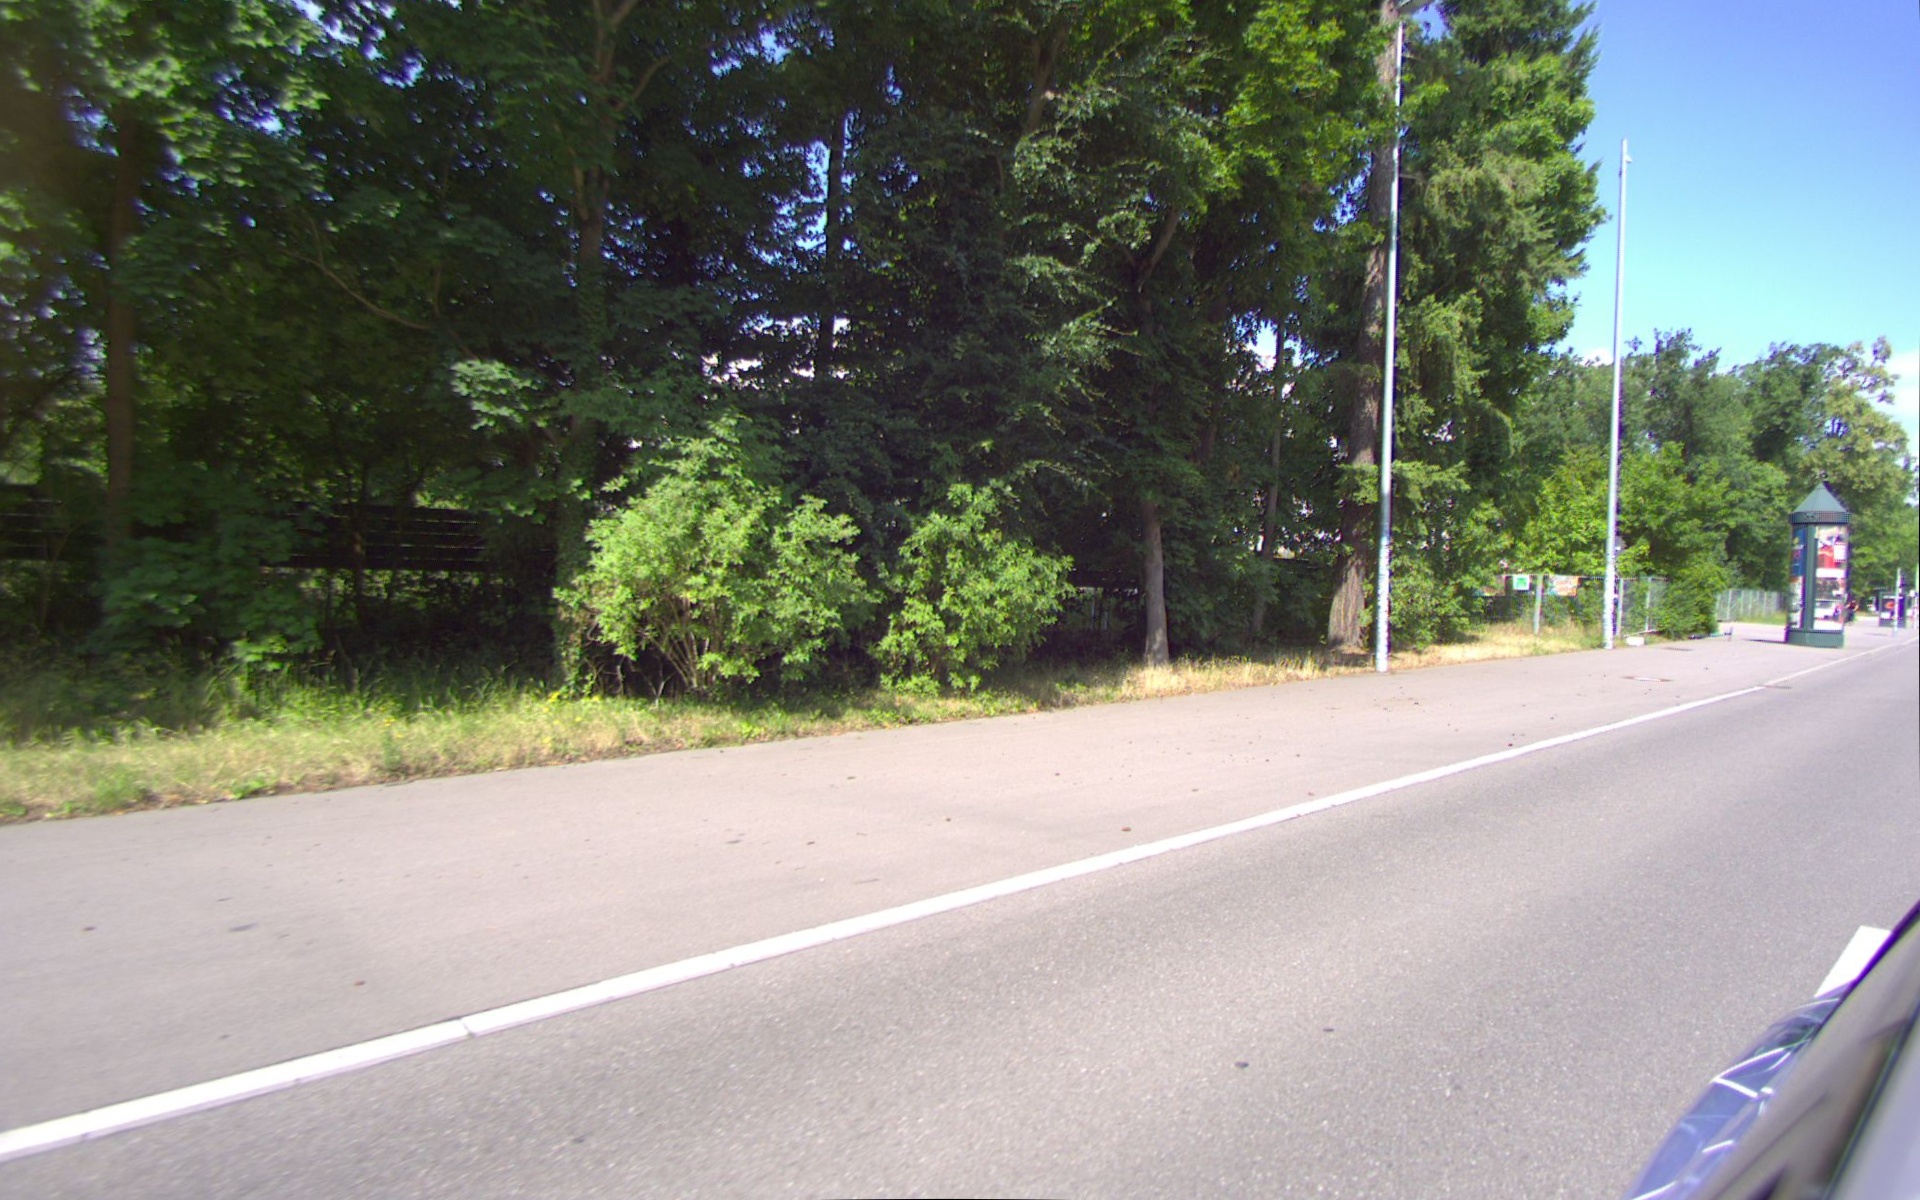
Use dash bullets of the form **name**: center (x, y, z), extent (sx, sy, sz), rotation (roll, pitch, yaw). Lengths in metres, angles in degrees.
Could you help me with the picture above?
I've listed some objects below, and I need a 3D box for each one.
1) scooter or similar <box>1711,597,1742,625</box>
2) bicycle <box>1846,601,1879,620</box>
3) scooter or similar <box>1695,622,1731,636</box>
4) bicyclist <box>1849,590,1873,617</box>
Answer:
- **scooter or similar**: center (35.017, 0.483, 46.217), extent (1.284, 1.215, 0.408), rotation (2, 1, -17)
- **bicycle**: center (60.162, 0.676, 67.494), extent (1.857, 1.221, 0.885), rotation (0, 0, -21)
- **scooter or similar**: center (26.827, 1.013, 36.049), extent (0.853, 0.393, 1.450), rotation (4, 4, 44)
- **bicyclist**: center (60.040, 0.222, 67.445), extent (0.958, 1.820, 0.889), rotation (1, 0, -22)
